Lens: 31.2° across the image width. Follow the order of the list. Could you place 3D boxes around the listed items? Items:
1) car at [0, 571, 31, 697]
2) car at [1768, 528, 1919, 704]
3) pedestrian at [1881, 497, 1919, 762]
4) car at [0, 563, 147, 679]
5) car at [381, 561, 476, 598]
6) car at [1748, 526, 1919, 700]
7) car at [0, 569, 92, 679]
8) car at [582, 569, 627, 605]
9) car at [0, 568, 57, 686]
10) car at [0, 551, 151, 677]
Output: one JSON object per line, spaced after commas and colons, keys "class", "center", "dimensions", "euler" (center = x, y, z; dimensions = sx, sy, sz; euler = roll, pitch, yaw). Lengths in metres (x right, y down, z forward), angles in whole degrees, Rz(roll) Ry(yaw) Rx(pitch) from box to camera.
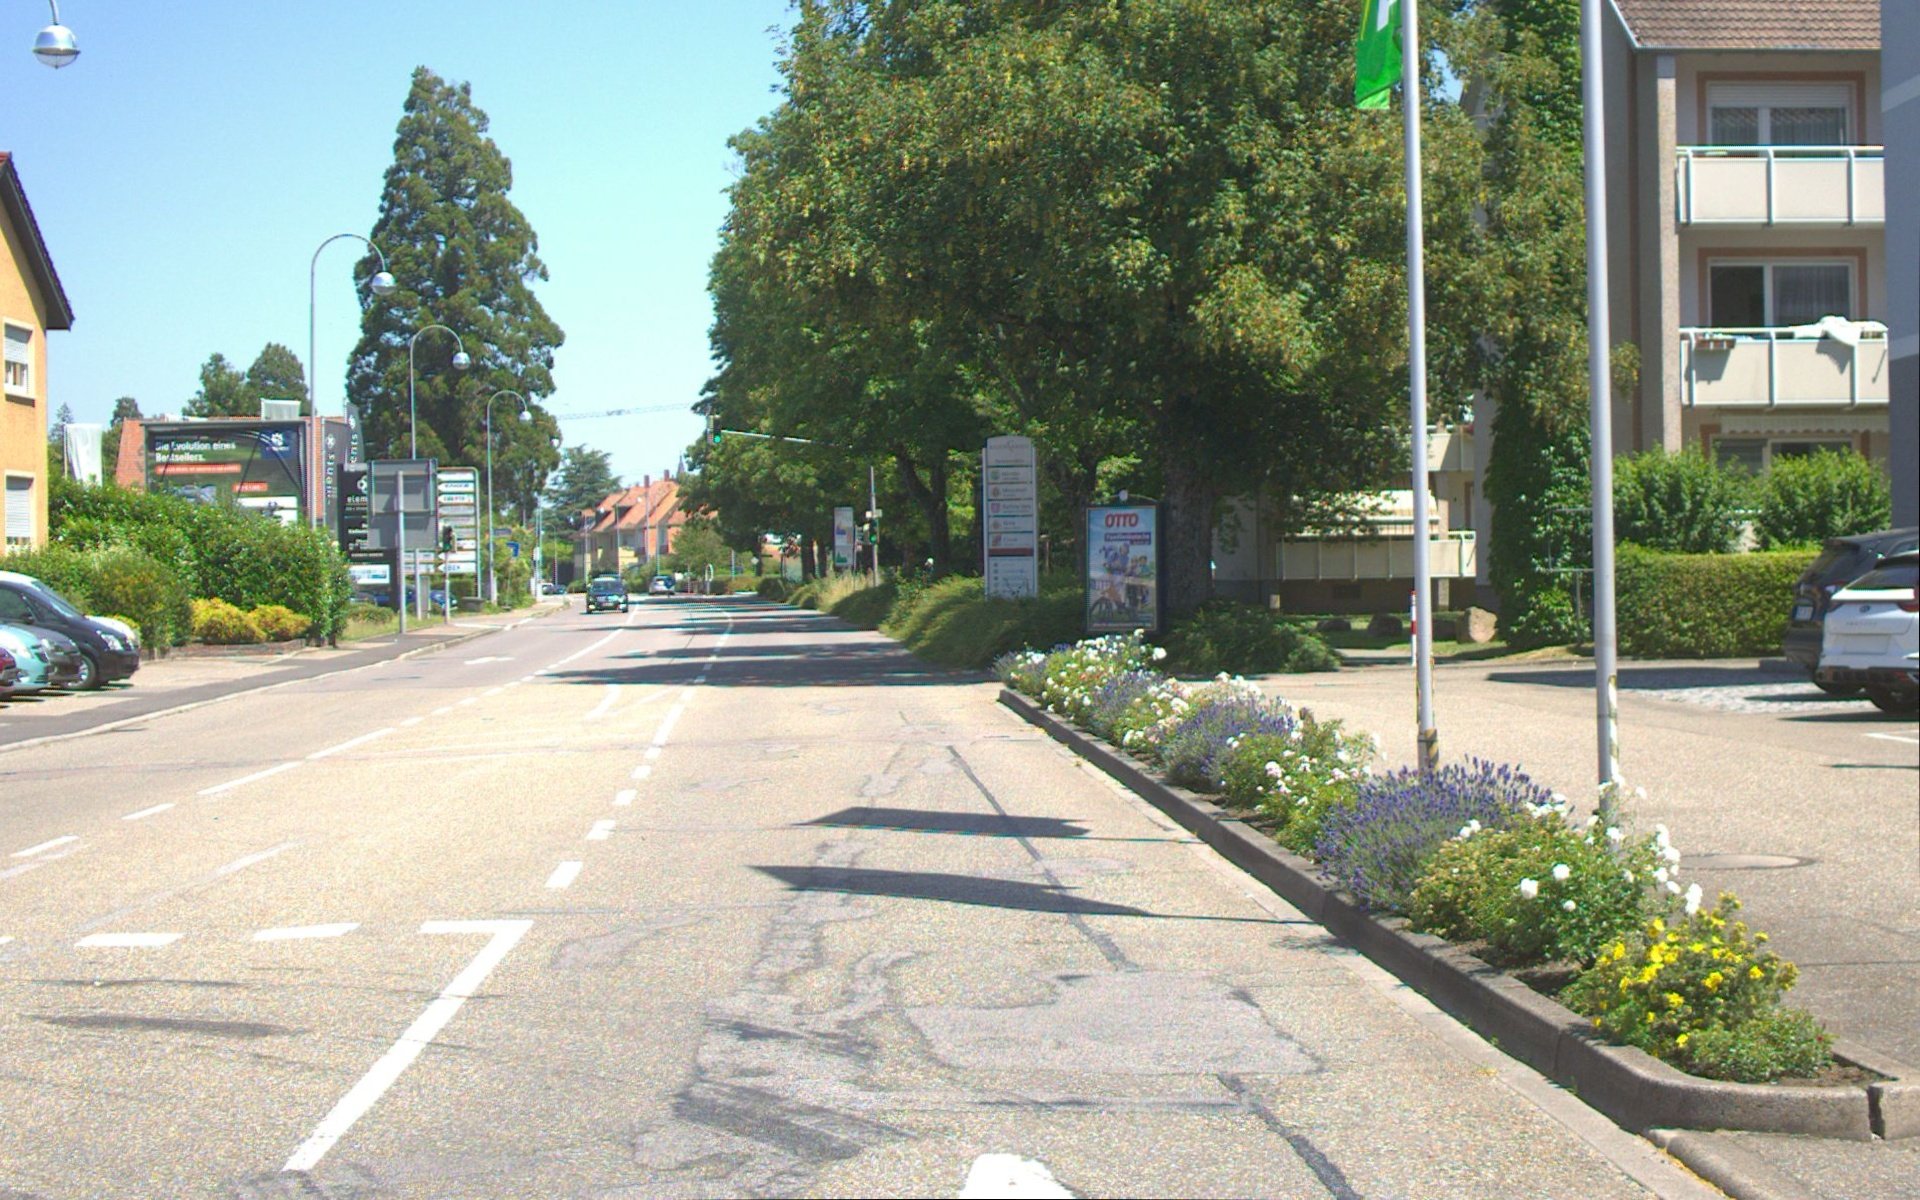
{"class": "car", "center": [-14.031, 0.446, 44.361], "dimensions": [3.663, 1.599, 1.882], "euler": [0, 0, -5]}
{"class": "car", "center": [9.032, 0.123, 28.306], "dimensions": [4.342, 1.366, 1.956], "euler": [0, 0, -25]}
{"class": "pedestrian", "center": [6.357, 0.180, 21.650], "dimensions": [0.840, 1.636, 1.010], "euler": [-1, 0, 2]}
{"class": "car", "center": [-14.023, 0.313, 50.826], "dimensions": [3.663, 1.667, 1.923], "euler": [0, 0, -5]}
{"class": "car", "center": [-20.978, -0.793, 135.670], "dimensions": [3.491, 1.422, 1.601], "euler": [0, 0, 1]}
{"class": "car", "center": [9.621, 0.079, 32.174], "dimensions": [3.986, 1.545, 1.798], "euler": [-2, 0, -3]}
{"class": "car", "center": [-14.316, 0.350, 48.654], "dimensions": [3.663, 1.526, 1.923], "euler": [0, 0, -5]}
{"class": "car", "center": [-15.132, -0.580, 146.499], "dimensions": [1.709, 1.490, 4.278], "euler": [0, 1, -4]}
{"class": "car", "center": [-14.259, 0.374, 46.543], "dimensions": [3.663, 1.575, 1.923], "euler": [0, 0, -5]}
{"class": "car", "center": [-14.679, 0.226, 53.008], "dimensions": [4.093, 1.892, 2.000], "euler": [0, 0, -7]}
